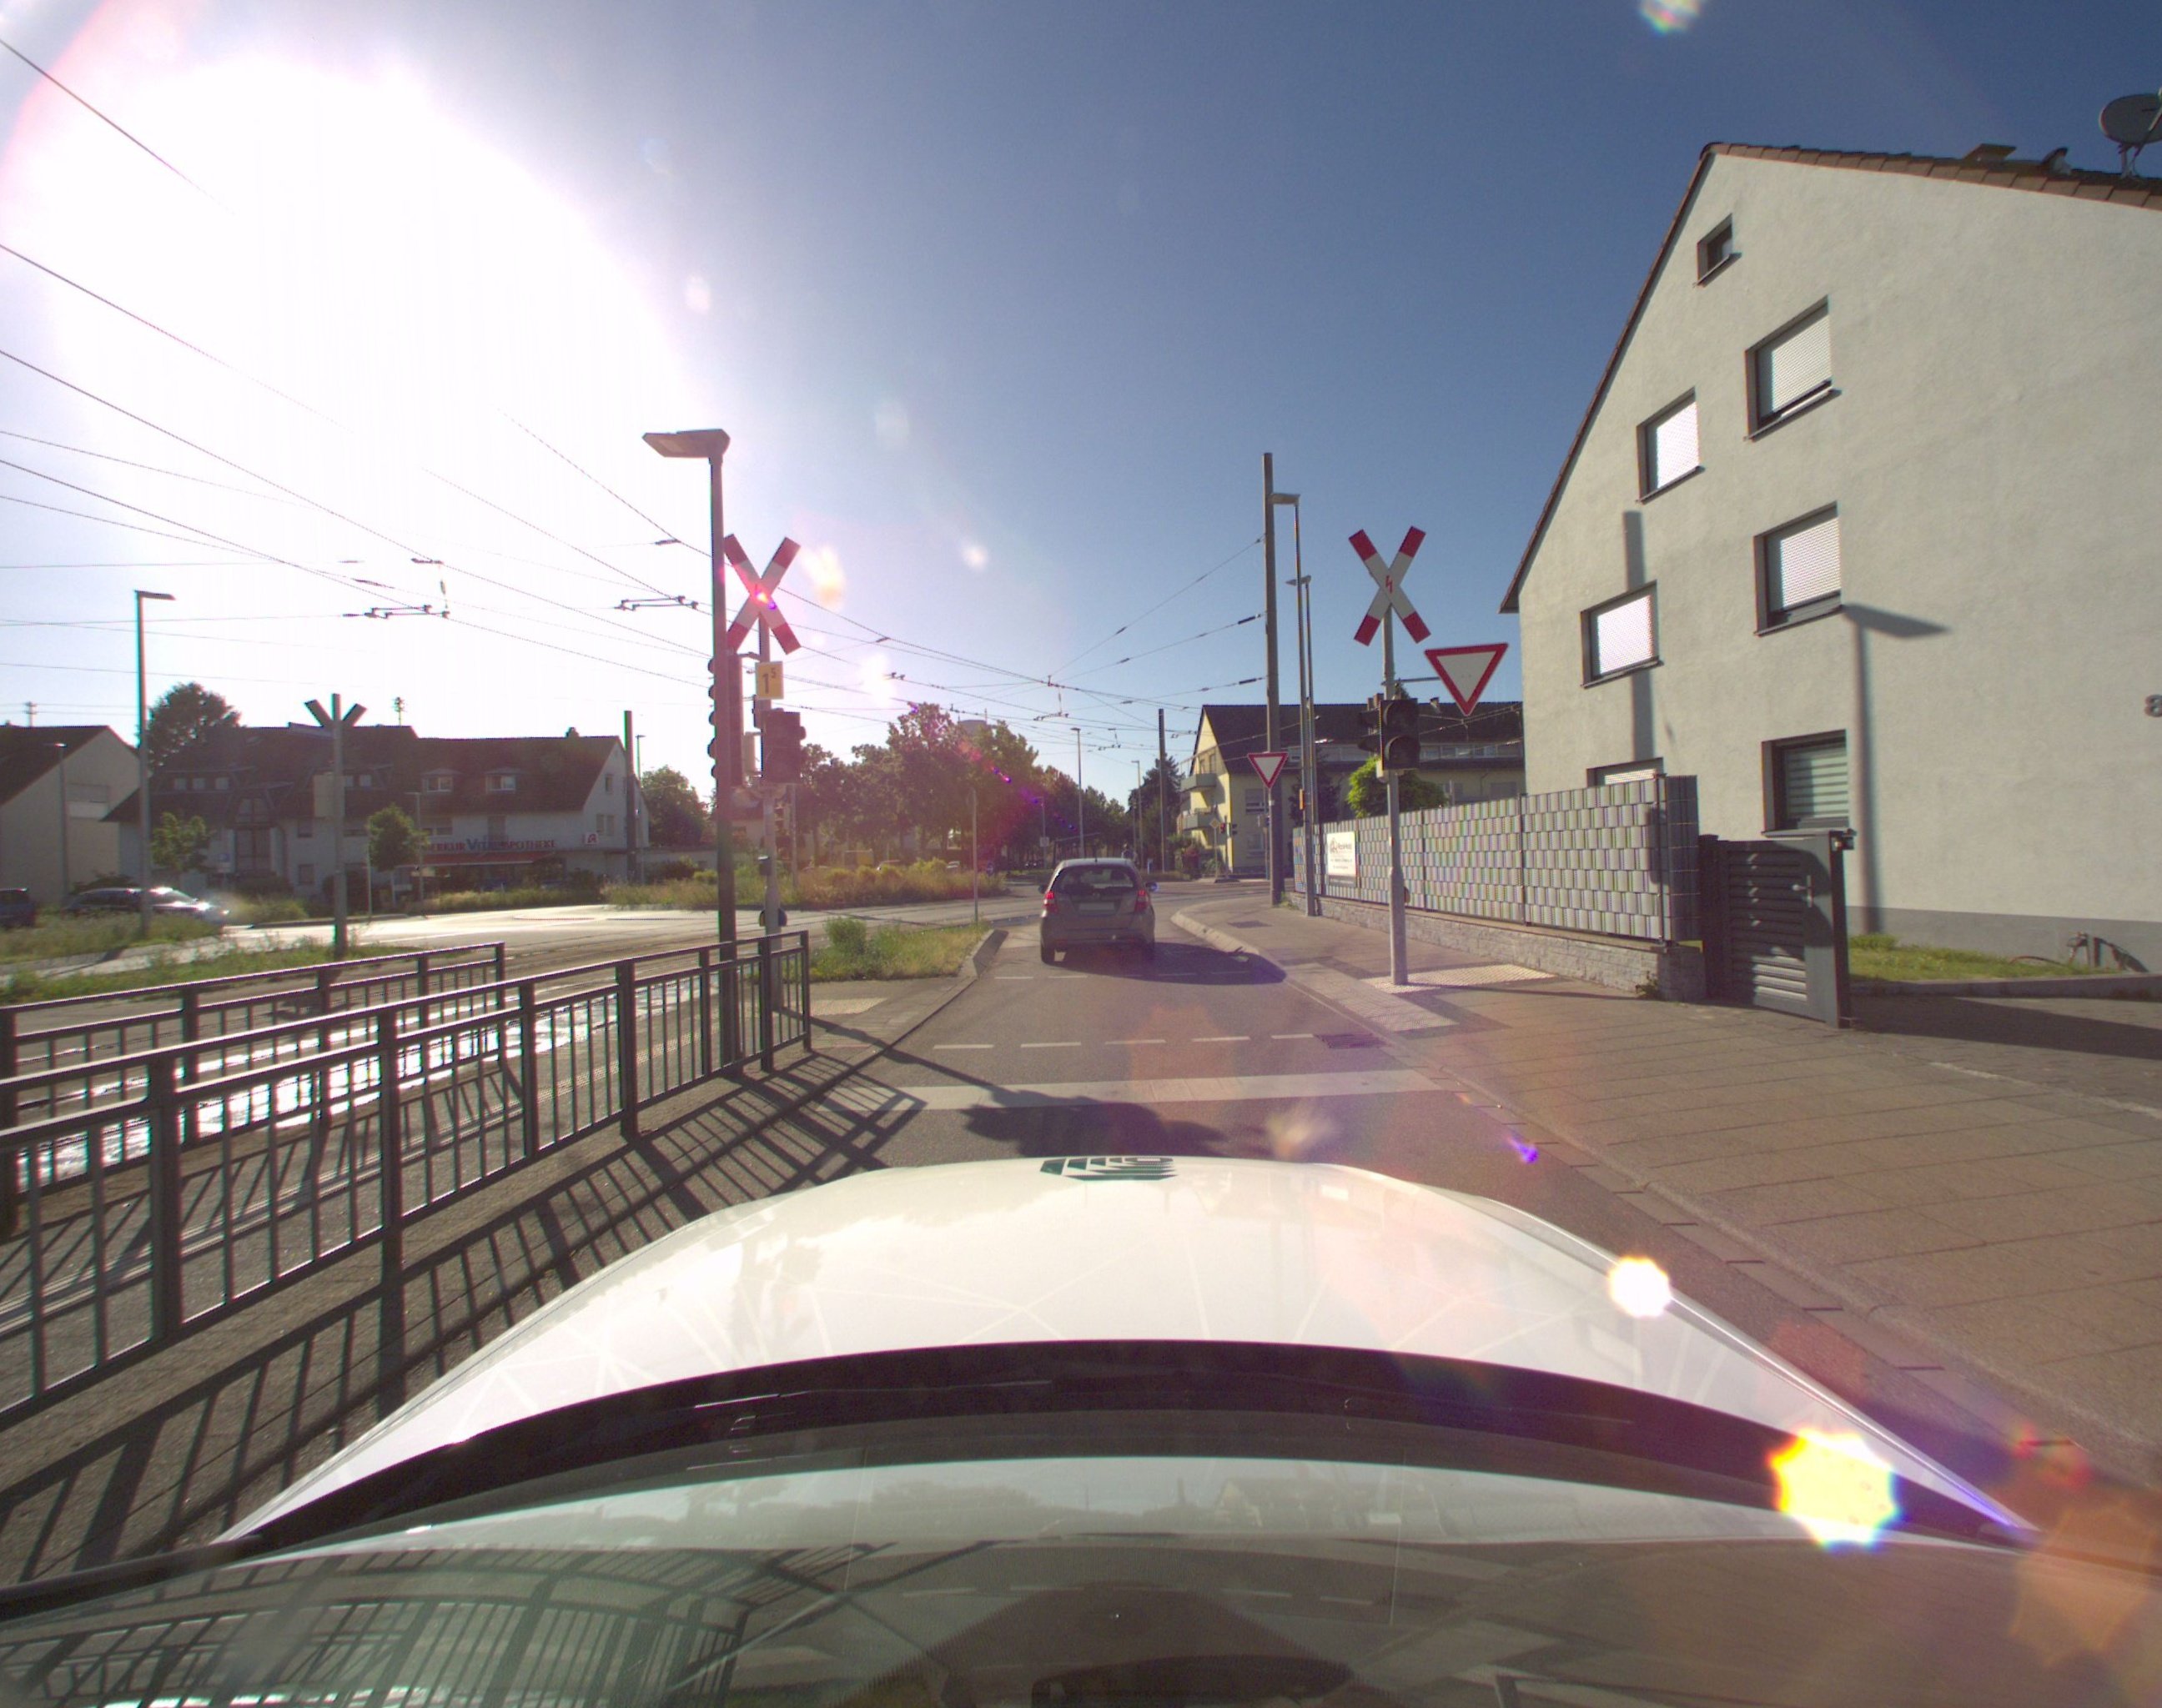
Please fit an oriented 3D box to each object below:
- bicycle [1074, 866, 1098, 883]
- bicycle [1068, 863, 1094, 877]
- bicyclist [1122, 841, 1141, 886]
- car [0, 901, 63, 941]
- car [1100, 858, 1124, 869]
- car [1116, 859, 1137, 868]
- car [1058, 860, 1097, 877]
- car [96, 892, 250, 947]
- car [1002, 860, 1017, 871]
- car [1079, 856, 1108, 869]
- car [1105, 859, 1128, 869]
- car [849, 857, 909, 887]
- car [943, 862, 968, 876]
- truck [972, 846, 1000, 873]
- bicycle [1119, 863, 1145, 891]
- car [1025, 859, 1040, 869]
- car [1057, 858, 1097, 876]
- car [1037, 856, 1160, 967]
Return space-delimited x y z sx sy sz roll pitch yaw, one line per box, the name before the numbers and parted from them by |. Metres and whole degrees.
bicycle | 0.329 1.439 57.780 1.661 1.208 0.688 0 -1 -2
bicycle | -0.015 1.191 61.475 1.968 1.027 0.695 0 -1 -2
bicyclist | 1.943 0.360 31.572 0.601 1.714 0.544 -2 -3 -3
car | -46.506 2.900 35.047 1.393 1.620 3.095 -1 -1 24
car | 4.330 1.364 115.343 3.347 1.533 1.523 0 -1 1
car | 7.761 1.607 139.399 3.504 1.533 1.578 0 -1 1
car | -0.281 1.315 74.869 3.503 1.533 1.578 0 -1 2
car | -31.049 2.195 27.864 4.211 1.670 1.826 -1 1 16
car | -11.785 1.868 134.068 1.986 1.699 4.219 0 -1 2
car | 1.503 0.979 96.988 3.503 1.533 1.578 0 -1 2
car | 5.229 1.441 120.051 3.466 1.493 1.552 0 -1 1
car | -15.499 1.347 62.930 1.978 1.981 5.261 -4 0 16
car | -16.095 1.872 104.627 1.984 1.773 5.068 0 -1 6
truck | -14.204 0.776 122.285 3.058 3.993 8.011 0 0 2
bicycle | 1.963 0.867 31.311 0.765 1.037 1.532 -1 0 -4
car | -7.993 1.636 134.788 1.822 1.580 4.445 0 -1 4
car | -0.356 1.181 73.092 3.503 1.533 1.578 0 -1 2
car | 0.304 0.800 13.222 1.681 1.491 3.916 -1 0 2
